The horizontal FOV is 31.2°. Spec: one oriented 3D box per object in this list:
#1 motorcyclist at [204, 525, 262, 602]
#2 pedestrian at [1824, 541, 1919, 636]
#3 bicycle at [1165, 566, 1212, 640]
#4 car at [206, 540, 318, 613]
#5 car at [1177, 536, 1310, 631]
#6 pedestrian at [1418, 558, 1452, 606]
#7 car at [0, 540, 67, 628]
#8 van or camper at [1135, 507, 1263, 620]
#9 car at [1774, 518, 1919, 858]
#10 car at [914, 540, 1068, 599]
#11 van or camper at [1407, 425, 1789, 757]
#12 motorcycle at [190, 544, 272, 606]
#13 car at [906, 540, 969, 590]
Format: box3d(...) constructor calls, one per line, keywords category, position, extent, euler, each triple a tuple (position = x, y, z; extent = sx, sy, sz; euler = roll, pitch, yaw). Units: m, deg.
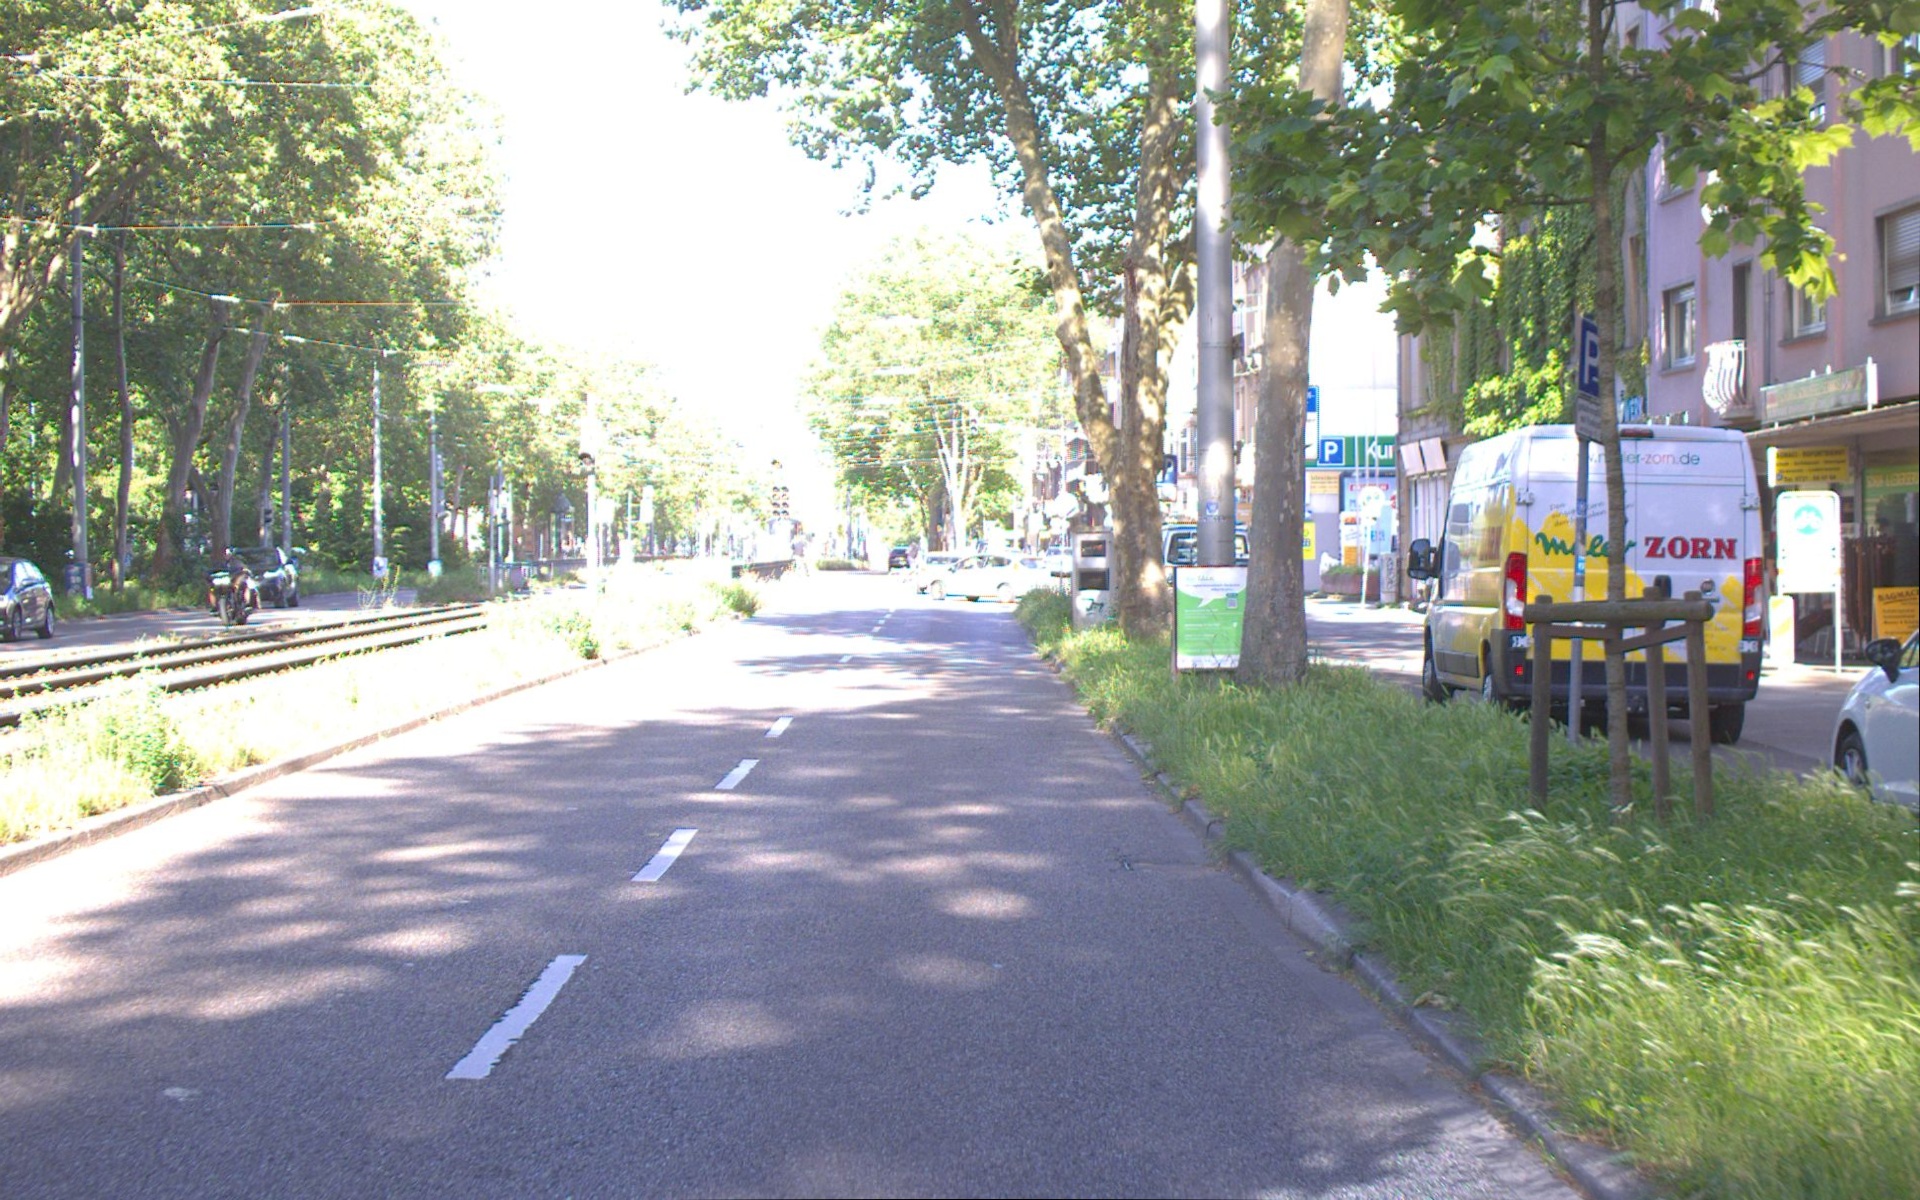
box3d(category="motorcyclist", position=(-14.532, -0.734, 68.708), extent=(0.944, 1.508, 0.959), euler=(0, 1, -1))
box3d(category="pedestrian", position=(12.193, -0.158, 45.867), extent=(1.143, 1.251, 0.749), euler=(0, 1, 0))
box3d(category="bicycle", position=(3.157, 0.032, 47.584), extent=(0.588, 0.987, 1.450), euler=(0, 1, 1))
box3d(category="car", position=(-18.929, -0.675, 93.422), extent=(1.993, 1.864, 4.873), euler=(-2, 1, 0))
box3d(category="car", position=(4.684, -0.284, 57.260), extent=(1.683, 1.508, 3.668), euler=(1, 1, -3))
box3d(category="pedestrian", position=(11.350, -0.424, 82.137), extent=(0.707, 1.147, 0.740), euler=(0, 0, 0))
box3d(category="car", position=(-17.213, -0.252, 60.511), extent=(1.795, 1.503, 4.339), euler=(-3, 1, 0))
box3d(category="van or camper", position=(4.302, -0.671, 62.662), extent=(1.839, 1.956, 5.127), euler=(1, 1, -1))
box3d(category="car", position=(5.314, 0.438, 16.252), extent=(1.753, 1.567, 4.185), euler=(3, 1, -2))
box3d(category="car", position=(0.884, -0.895, 98.439), extent=(3.995, 1.656, 2.024), euler=(1, 1, 37))
box3d(category="van or camper", position=(5.308, -0.102, 29.540), extent=(2.184, 2.472, 6.268), euler=(2, 1, 1))
box3d(category="motorcycle", position=(-14.547, -0.516, 68.685), extent=(0.964, 1.208, 3.351), euler=(0, 1, -1))
box3d(category="car", position=(-0.777, -1.181, 114.728), extent=(2.021, 1.656, 4.000), euler=(0, 1, -2))
